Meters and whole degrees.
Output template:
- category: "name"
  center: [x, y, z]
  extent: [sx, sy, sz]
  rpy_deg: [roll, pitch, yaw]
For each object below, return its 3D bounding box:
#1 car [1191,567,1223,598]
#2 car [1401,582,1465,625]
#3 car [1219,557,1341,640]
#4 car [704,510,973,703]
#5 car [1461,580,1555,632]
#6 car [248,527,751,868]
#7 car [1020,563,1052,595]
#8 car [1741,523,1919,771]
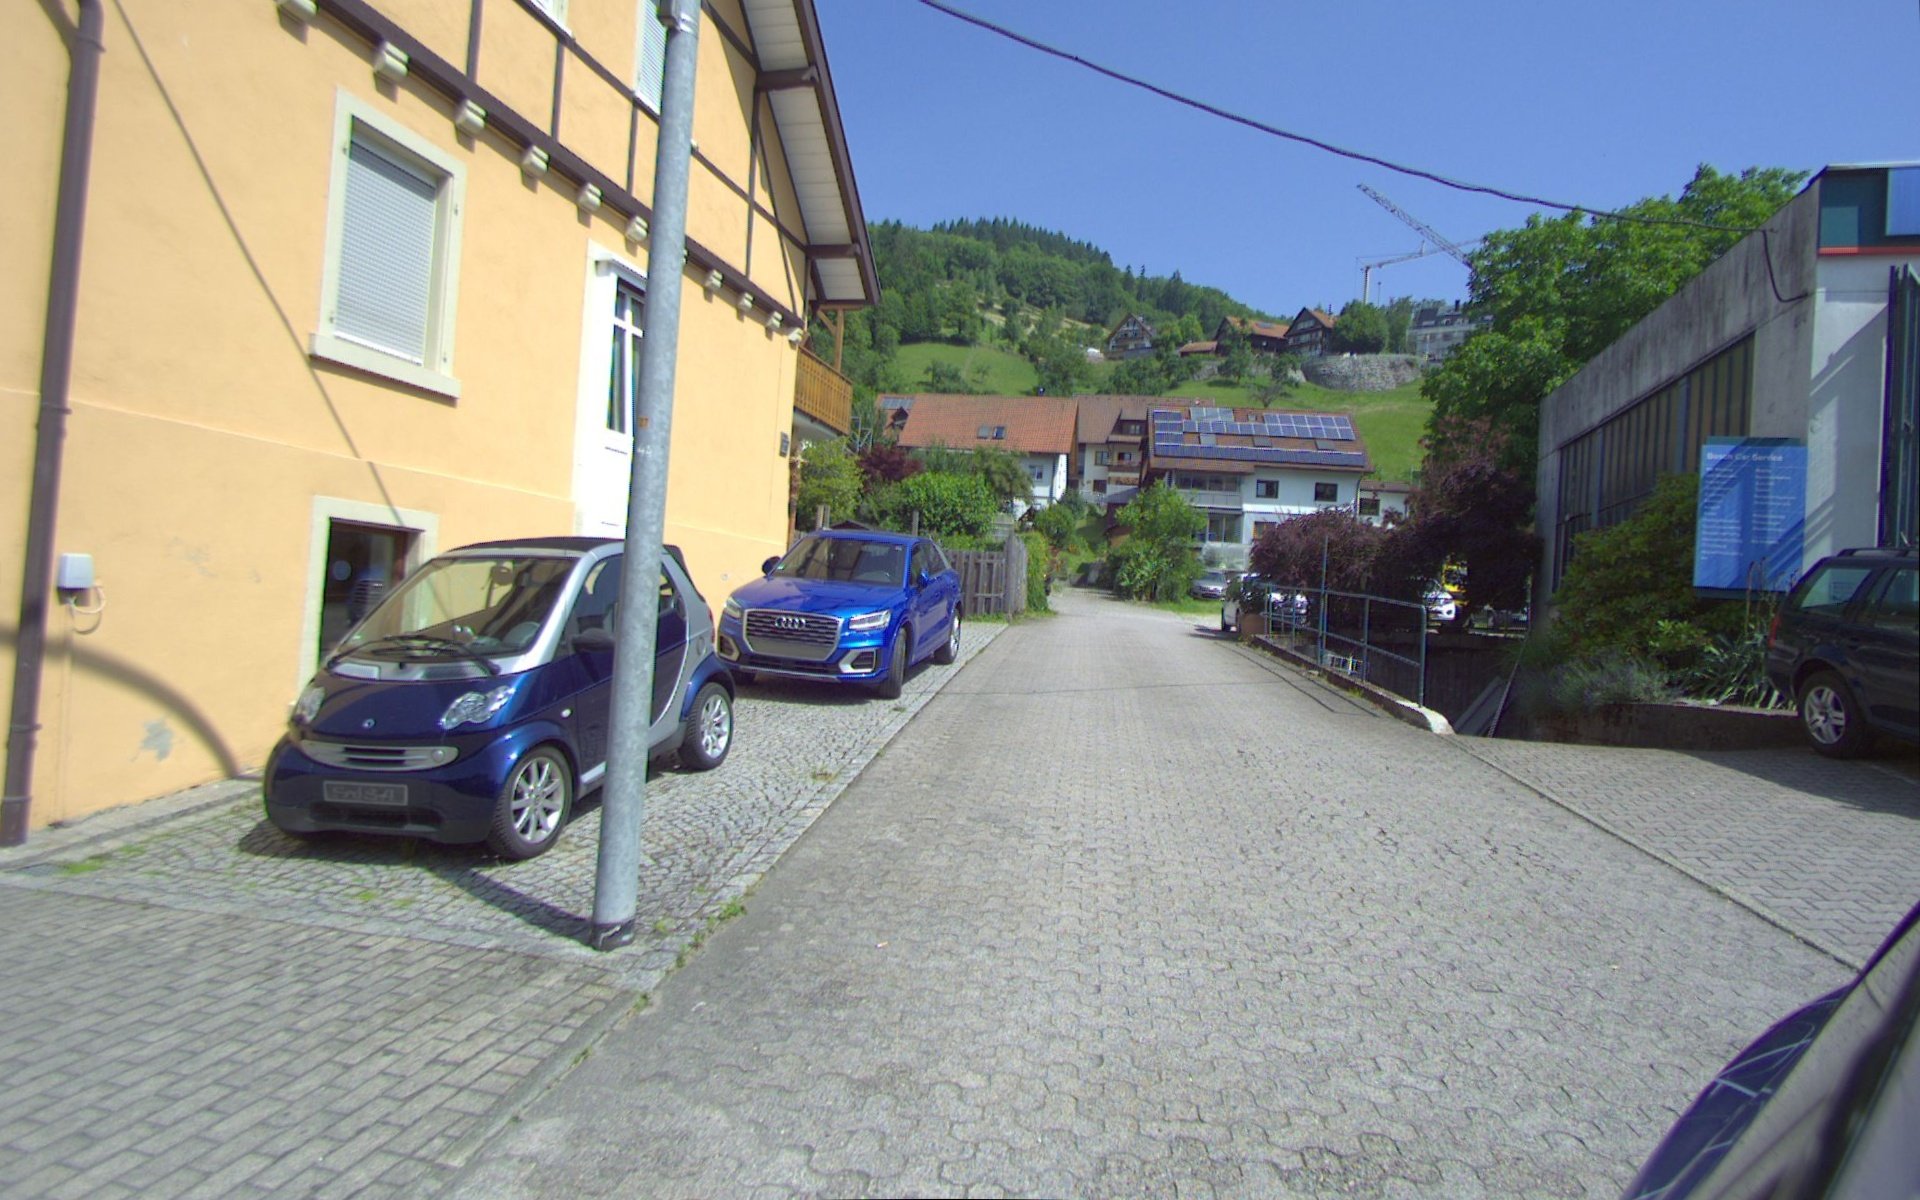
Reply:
- category: "car"
  center: [11.688, -0.879, 48.014]
  extent: [1.324, 1.387, 3.204]
  rpy_deg: [1, 2, 11]
- category: "car"
  center: [16.657, 0.083, 35.758]
  extent: [1.448, 1.274, 3.372]
  rpy_deg: [4, 3, 16]
- category: "car"
  center: [7.108, -0.136, 22.961]
  extent: [1.968, 1.665, 4.865]
  rpy_deg: [1, 2, 10]
- category: "car"
  center: [-1.077, -0.033, 10.863]
  extent: [1.708, 1.645, 3.923]
  rpy_deg: [2, 3, 11]
- category: "car"
  center: [18.702, 0.161, 34.711]
  extent: [1.653, 1.574, 3.901]
  rpy_deg: [1, 2, 10]
- category: "car"
  center: [-2.456, 0.351, 6.037]
  extent: [1.403, 1.554, 2.654]
  rpy_deg: [1, 4, 12]
- category: "car"
  center: [3.087, -0.859, 40.852]
  extent: [1.094, 1.076, 2.861]
  rpy_deg: [5, 4, 6]
- category: "car"
  center: [6.884, 0.313, 5.911]
  extent: [1.770, 1.564, 4.322]
  rpy_deg: [0, 2, 9]
